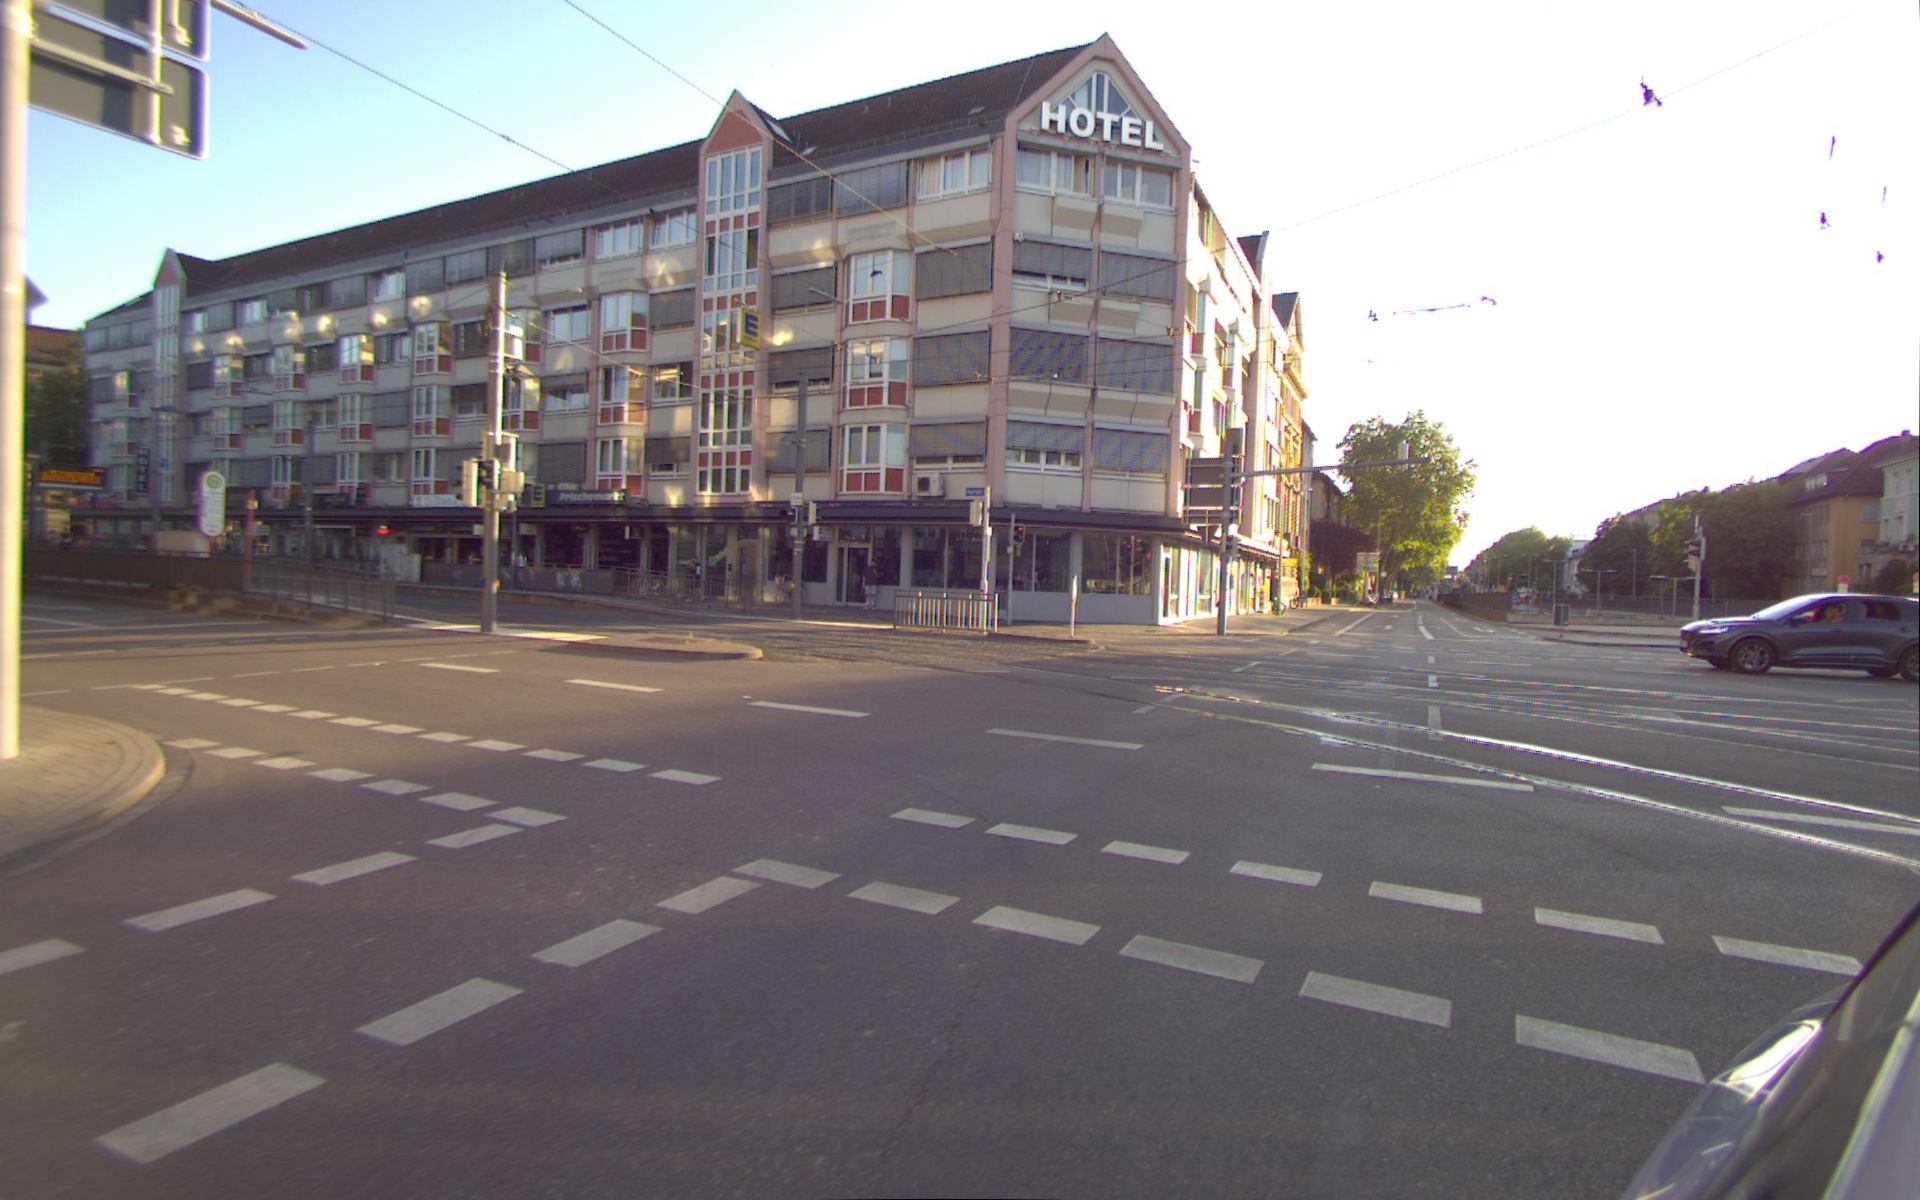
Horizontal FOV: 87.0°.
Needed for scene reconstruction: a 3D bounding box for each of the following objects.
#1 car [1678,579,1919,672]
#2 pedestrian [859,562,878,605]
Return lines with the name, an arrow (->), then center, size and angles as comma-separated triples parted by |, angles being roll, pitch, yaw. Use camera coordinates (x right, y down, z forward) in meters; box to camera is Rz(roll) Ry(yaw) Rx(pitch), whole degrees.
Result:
car -> 17.942, 0.502, 20.167 | 5.514, 1.648, 2.016 | 3, 1, 23
pedestrian -> -3.252, -0.582, 35.941 | 0.468, 1.511, 0.473 | 1, 1, -27
